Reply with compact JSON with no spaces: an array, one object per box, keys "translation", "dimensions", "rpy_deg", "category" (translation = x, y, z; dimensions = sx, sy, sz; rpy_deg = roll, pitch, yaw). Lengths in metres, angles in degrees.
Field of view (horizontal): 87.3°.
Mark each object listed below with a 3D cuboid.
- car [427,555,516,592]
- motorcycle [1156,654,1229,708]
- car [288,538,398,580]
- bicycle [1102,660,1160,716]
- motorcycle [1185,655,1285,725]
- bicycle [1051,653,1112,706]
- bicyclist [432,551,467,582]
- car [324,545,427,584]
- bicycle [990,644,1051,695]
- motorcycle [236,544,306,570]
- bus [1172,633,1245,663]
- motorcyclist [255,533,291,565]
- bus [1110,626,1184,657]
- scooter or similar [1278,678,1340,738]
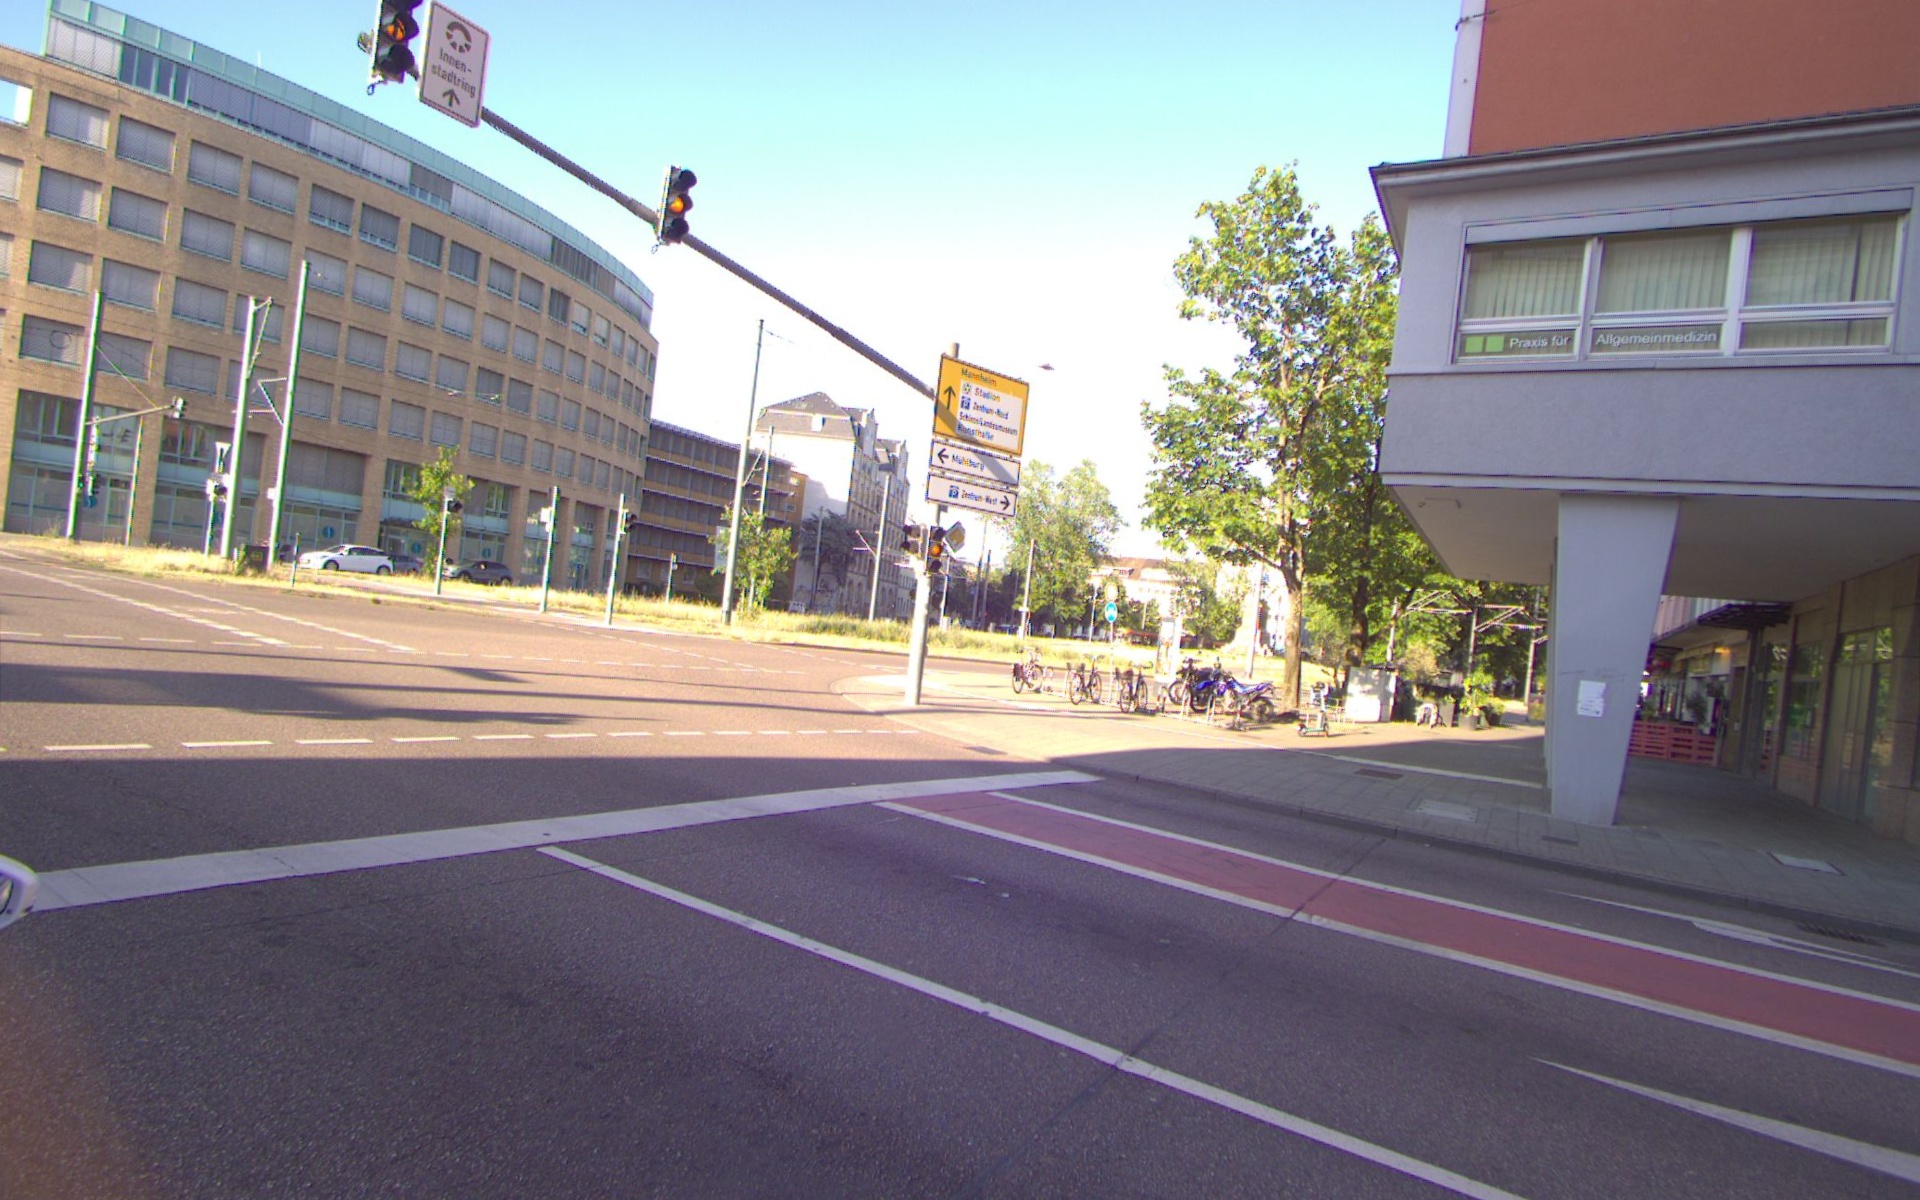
[{"translation":[-27.035,-1.448,55.797],"dimensions":[1.790,1.509,4.058],"rpy_deg":[6,-1,30],"category":"car"},{"translation":[6.458,2.257,27.886],"dimensions":[2.044,1.324,0.880],"rpy_deg":[7,-1,-44],"category":"motorcycle"},{"translation":[-30.489,-2.000,49.830],"dimensions":[1.961,1.509,4.171],"rpy_deg":[6,-1,29],"category":"car"},{"translation":[3.959,1.987,23.106],"dimensions":[0.583,1.129,2.058],"rpy_deg":[7,1,28],"category":"bicycle"},{"translation":[6.864,2.233,25.085],"dimensions":[2.224,1.409,0.845],"rpy_deg":[7,-1,19],"category":"motorcycle"},{"translation":[2.888,1.851,23.724],"dimensions":[0.584,1.129,2.003],"rpy_deg":[7,1,29],"category":"bicycle"},{"translation":[-28.880,-1.893,56.912],"dimensions":[1.134,1.591,1.225],"rpy_deg":[6,0,30],"category":"bicyclist"},{"translation":[-32.558,-1.979,56.120],"dimensions":[1.953,1.555,4.488],"rpy_deg":[6,-1,32],"category":"car"},{"translation":[1.498,1.676,24.549],"dimensions":[0.584,1.129,1.974],"rpy_deg":[7,1,29],"category":"bicycle"},{"translation":[-35.258,-2.179,51.533],"dimensions":[1.014,0.975,2.722],"rpy_deg":[6,-1,30],"category":"motorcycle"},{"translation":[36.810,7.170,148.924],"dimensions":[10.931,3.248,2.341],"rpy_deg":[7,-1,-22],"category":"bus"},{"translation":[-35.202,-2.617,51.544],"dimensions":[1.014,1.453,1.067],"rpy_deg":[6,0,31],"category":"motorcyclist"},{"translation":[26.937,5.918,144.363],"dimensions":[10.983,3.248,2.395],"rpy_deg":[7,-1,-27],"category":"bus"},{"translation":[7.855,2.437,22.618],"dimensions":[1.549,1.251,0.479],"rpy_deg":[6,1,-40],"category":"scooter or similar"}]
